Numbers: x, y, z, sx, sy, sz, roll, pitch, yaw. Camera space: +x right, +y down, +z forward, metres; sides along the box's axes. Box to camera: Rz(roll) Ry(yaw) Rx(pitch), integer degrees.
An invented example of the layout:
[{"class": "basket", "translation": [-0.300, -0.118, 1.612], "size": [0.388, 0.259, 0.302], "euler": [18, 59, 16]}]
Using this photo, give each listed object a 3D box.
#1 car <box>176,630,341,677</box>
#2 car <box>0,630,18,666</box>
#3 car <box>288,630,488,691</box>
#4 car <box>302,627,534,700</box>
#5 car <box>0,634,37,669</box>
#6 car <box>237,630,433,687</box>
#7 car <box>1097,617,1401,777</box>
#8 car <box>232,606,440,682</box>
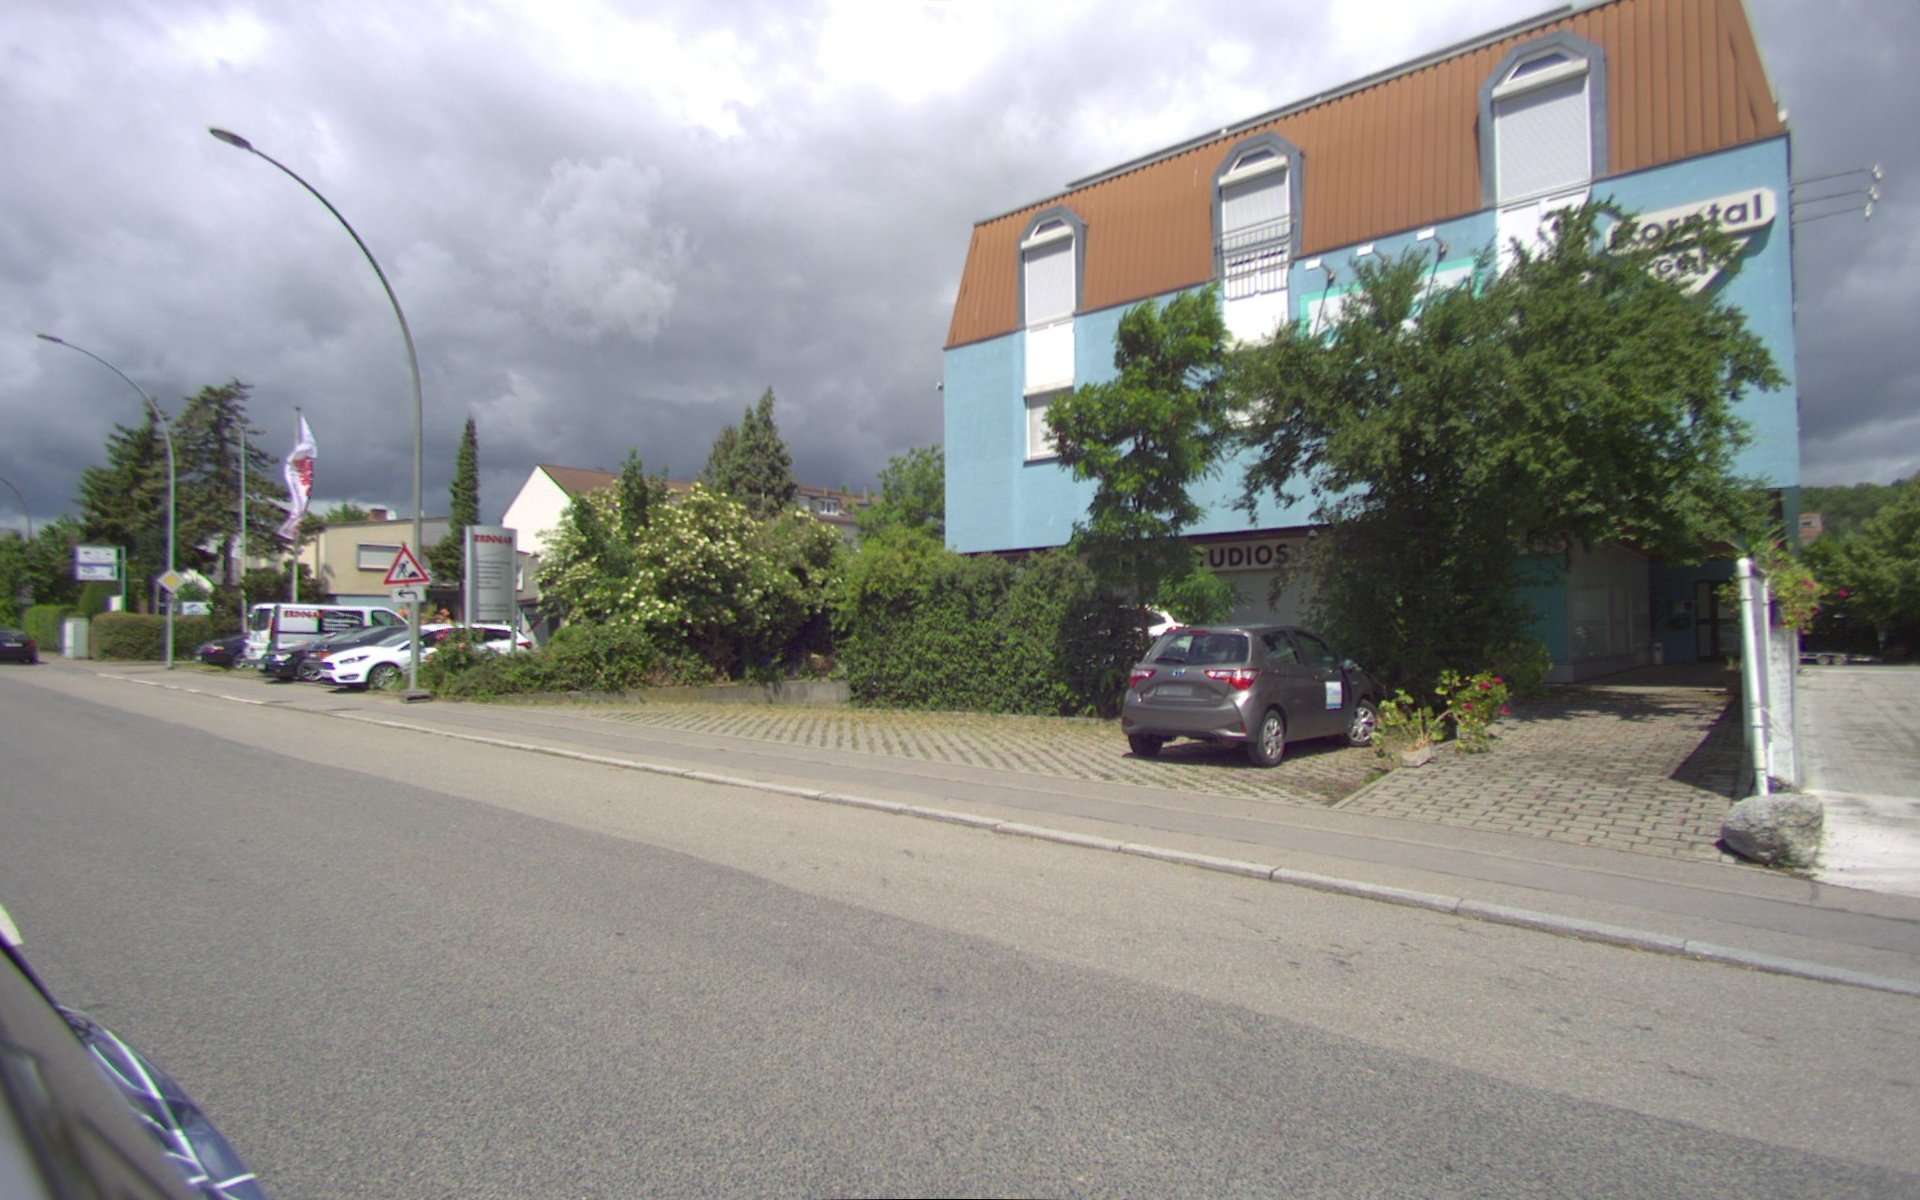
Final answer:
[{"class": "car", "translation": [-22.257, 1.653, 32.207], "size": [1.869, 1.213, 3.948], "euler": [-2, 0, 39]}, {"class": "car", "translation": [-41.647, 2.033, 42.976], "size": [4.639, 1.483, 1.726], "euler": [-2, -6, 40]}, {"class": "car", "translation": [-14.143, 1.455, 25.161], "size": [1.871, 1.365, 3.943], "euler": [-2, -3, 43]}, {"class": "car", "translation": [-12.355, 1.374, 23.293], "size": [1.870, 1.489, 4.329], "euler": [0, -1, 41]}, {"class": "car", "translation": [-37.947, 2.022, 39.886], "size": [4.112, 1.314, 1.614], "euler": [-2, -6, 39]}, {"class": "car", "translation": [-16.180, 1.465, 26.338], "size": [1.870, 1.325, 3.947], "euler": [-1, -2, 39]}, {"class": "car", "translation": [3.453, 0.987, 11.766], "size": [1.979, 1.544, 3.588], "euler": [-2, -2, 43]}, {"class": "car", "translation": [-17.690, 1.222, 28.905], "size": [2.112, 1.987, 4.608], "euler": [-2, -2, 37]}]
